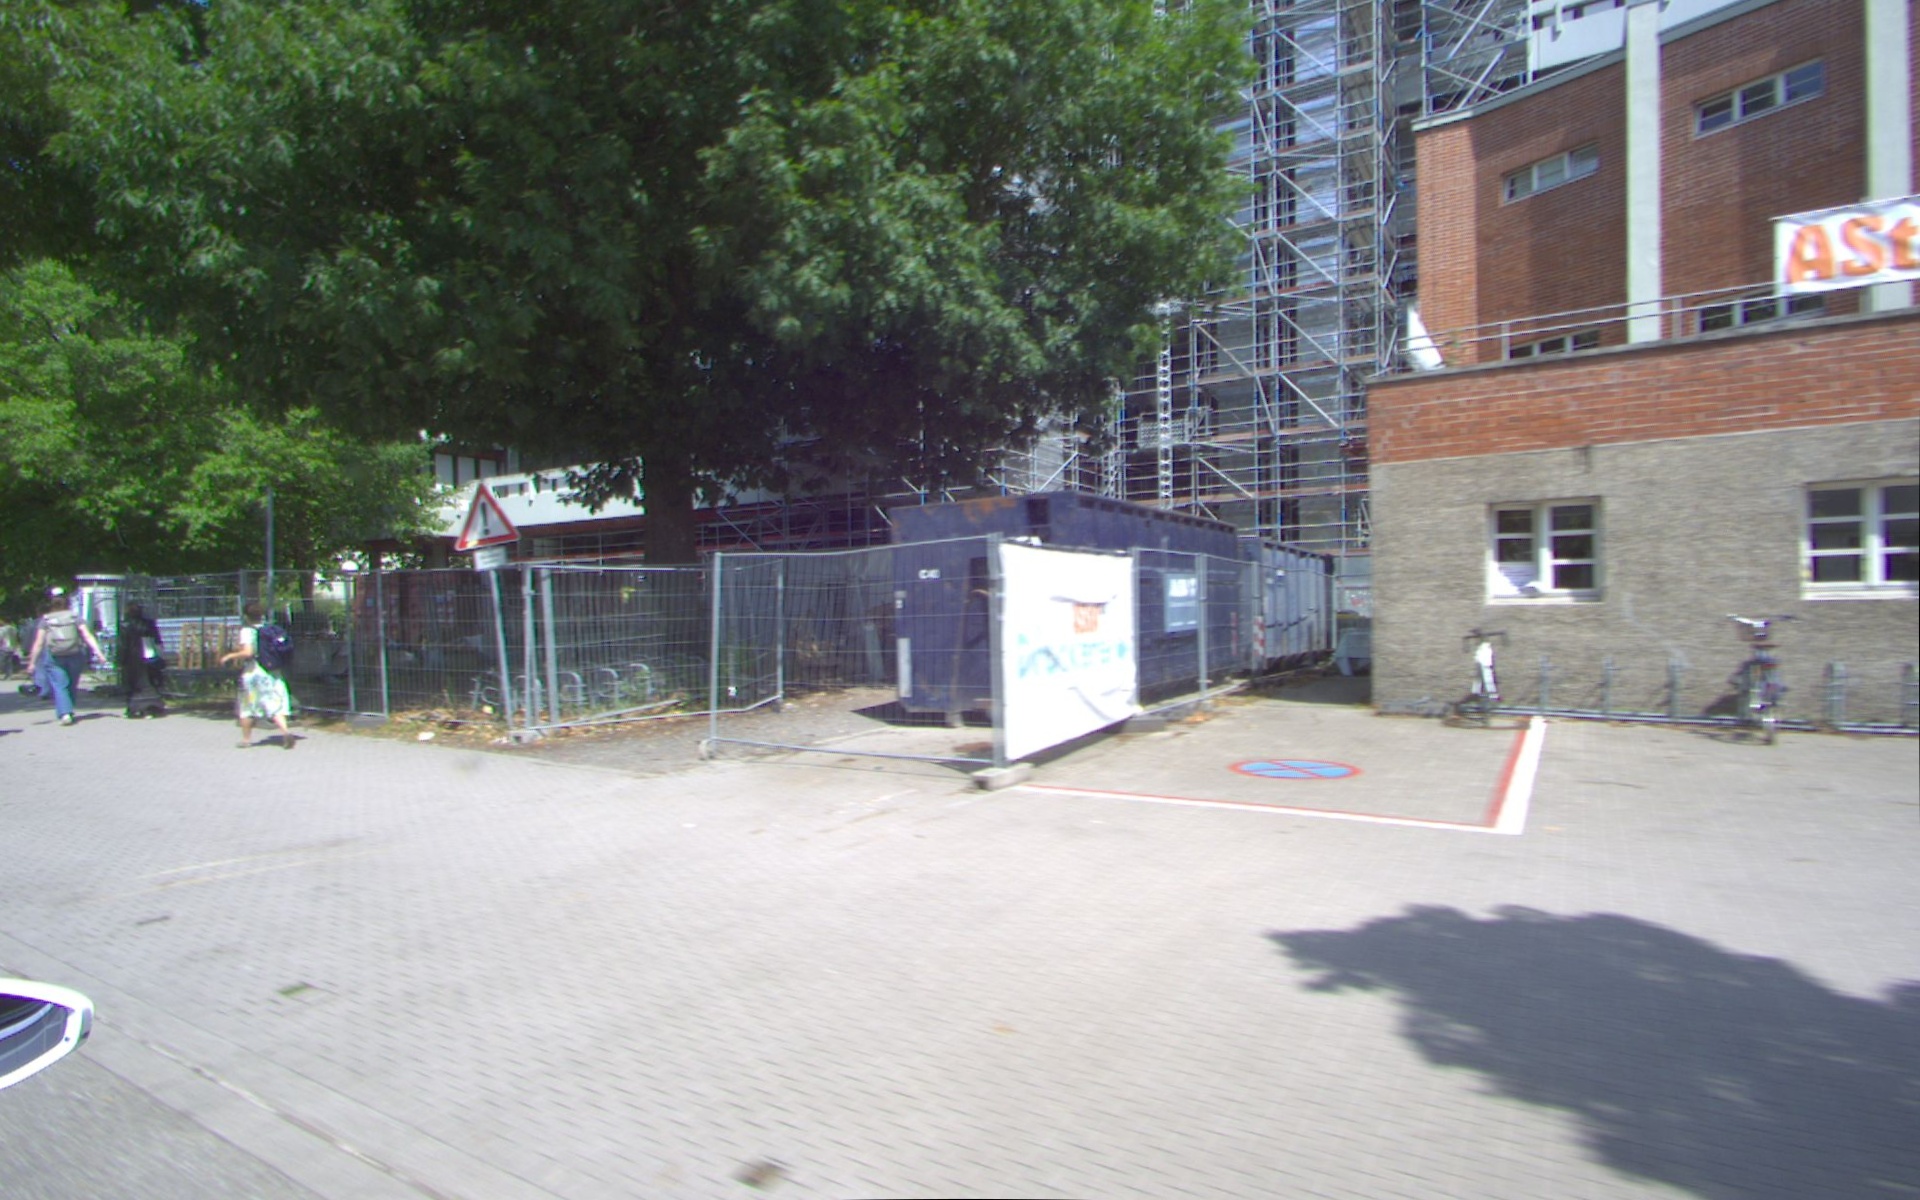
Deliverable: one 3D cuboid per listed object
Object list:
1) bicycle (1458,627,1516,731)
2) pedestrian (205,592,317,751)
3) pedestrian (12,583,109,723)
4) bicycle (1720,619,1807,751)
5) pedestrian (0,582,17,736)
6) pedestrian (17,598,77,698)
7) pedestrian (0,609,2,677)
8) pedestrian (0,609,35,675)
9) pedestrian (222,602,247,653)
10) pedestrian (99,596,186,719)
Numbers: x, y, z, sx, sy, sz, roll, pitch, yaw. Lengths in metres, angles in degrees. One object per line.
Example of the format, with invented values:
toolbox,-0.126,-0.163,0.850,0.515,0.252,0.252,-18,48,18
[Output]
bicycle,5.841,0.830,11.070,0.441,1.016,1.668,-1,0,32
pedestrian,-7.767,0.771,11.130,0.890,1.688,0.648,-1,1,28
pedestrian,-11.906,0.675,13.261,0.708,1.787,0.845,-1,1,41
bicycle,7.647,0.761,9.579,0.441,1.124,1.698,-1,0,32
pedestrian,-11.637,0.697,11.704,0.776,1.804,0.693,-1,1,33
pedestrian,-15.647,0.805,17.180,0.707,1.653,0.705,-1,0,-41
pedestrian,-26.587,1.181,27.085,0.618,1.846,0.723,-1,0,-4
pedestrian,-25.616,1.124,27.040,0.553,1.732,0.745,-1,0,-4
pedestrian,-26.739,1.003,36.895,0.752,1.861,0.541,-1,0,38
pedestrian,-11.282,0.769,13.818,0.972,1.621,0.666,-1,1,36
